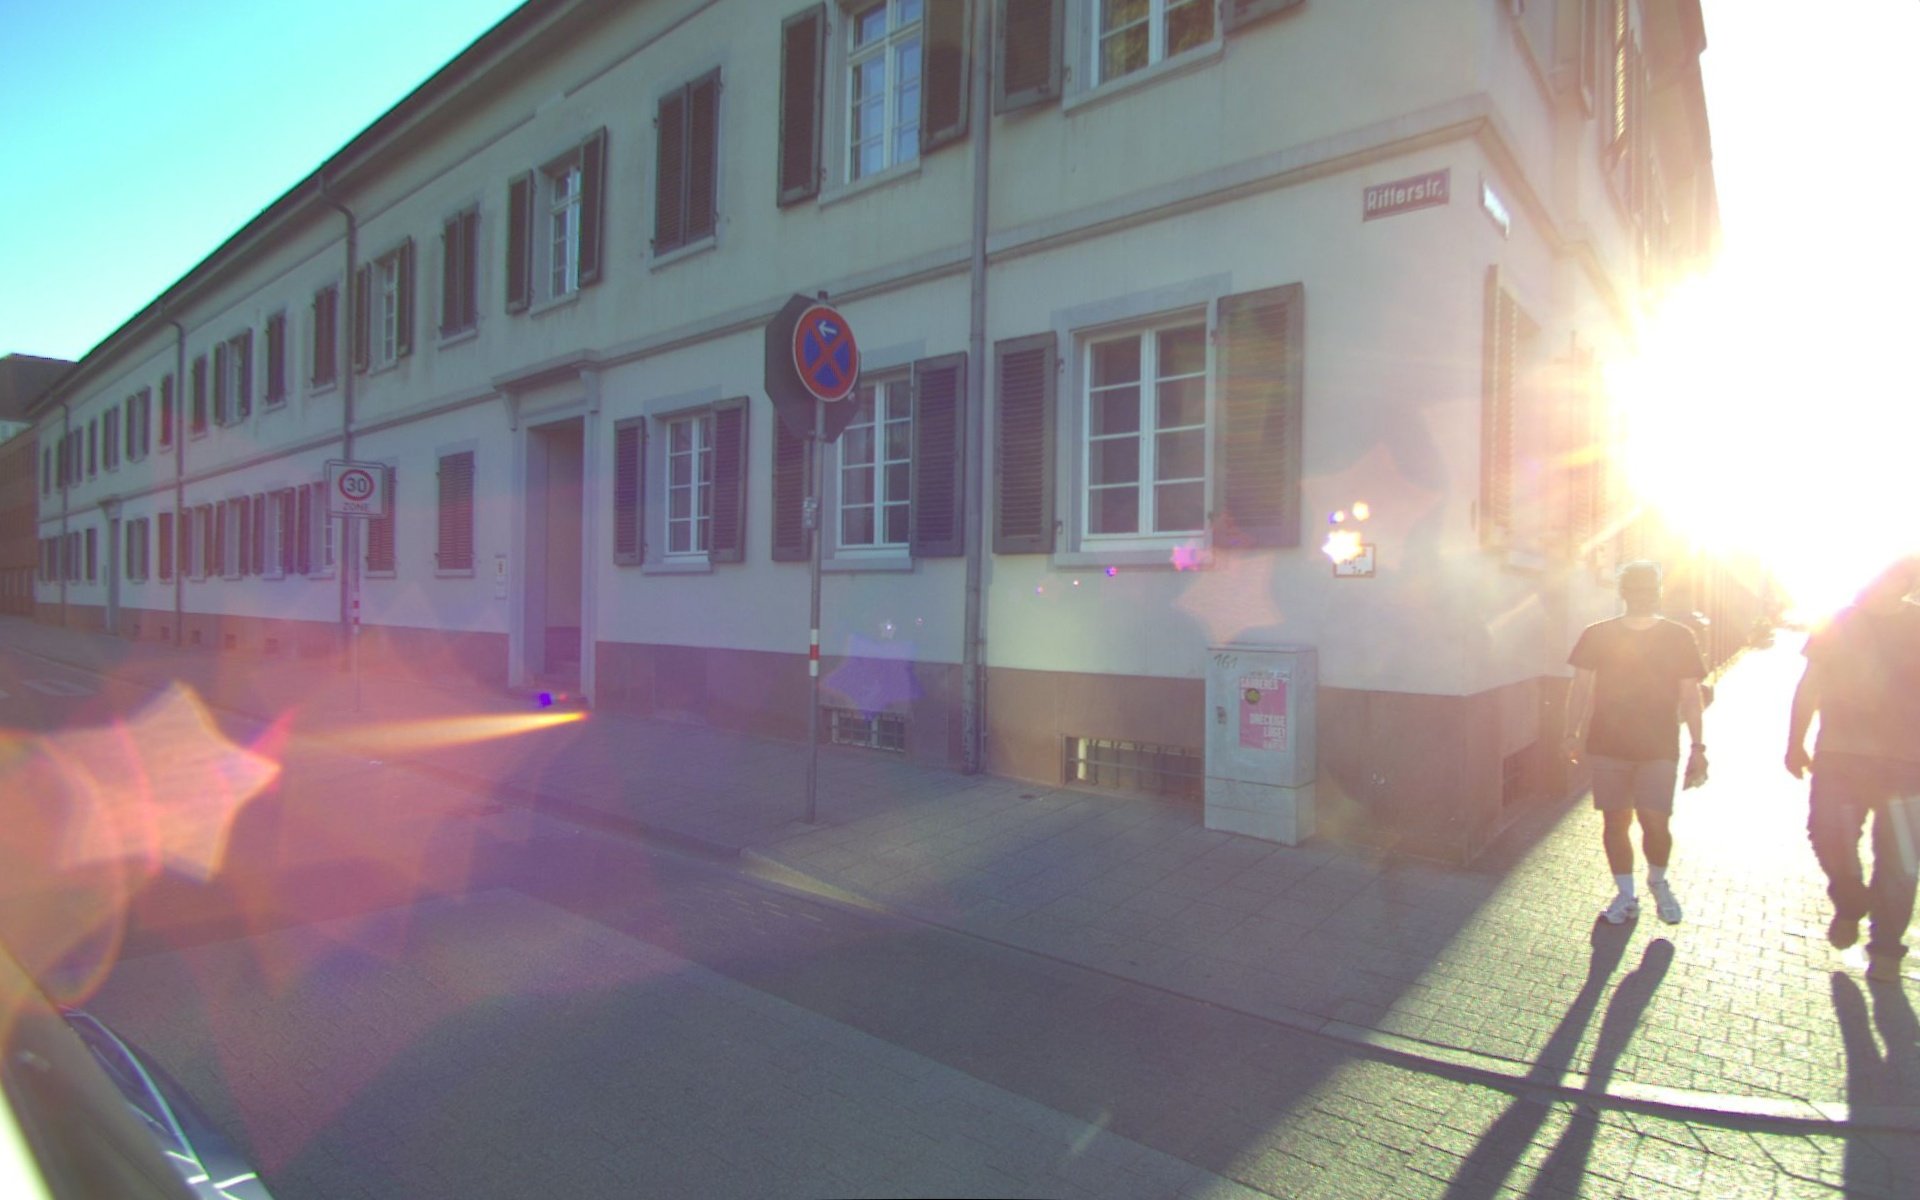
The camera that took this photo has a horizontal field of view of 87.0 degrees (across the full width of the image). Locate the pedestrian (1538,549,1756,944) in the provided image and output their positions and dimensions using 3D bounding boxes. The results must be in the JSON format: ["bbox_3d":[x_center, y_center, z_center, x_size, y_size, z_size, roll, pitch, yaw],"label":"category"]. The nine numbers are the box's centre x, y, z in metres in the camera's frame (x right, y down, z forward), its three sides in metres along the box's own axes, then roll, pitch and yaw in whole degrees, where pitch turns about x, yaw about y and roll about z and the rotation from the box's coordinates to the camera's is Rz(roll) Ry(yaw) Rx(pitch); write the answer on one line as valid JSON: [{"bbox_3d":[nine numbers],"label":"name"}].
[{"bbox_3d":[3.306,0.632,4.868,0.795,1.702,0.648,1,-1,40],"label":"pedestrian"}]

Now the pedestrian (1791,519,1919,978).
[{"bbox_3d":[4.046,0.596,4.291,0.795,1.828,0.648,1,-1,40],"label":"pedestrian"}]
